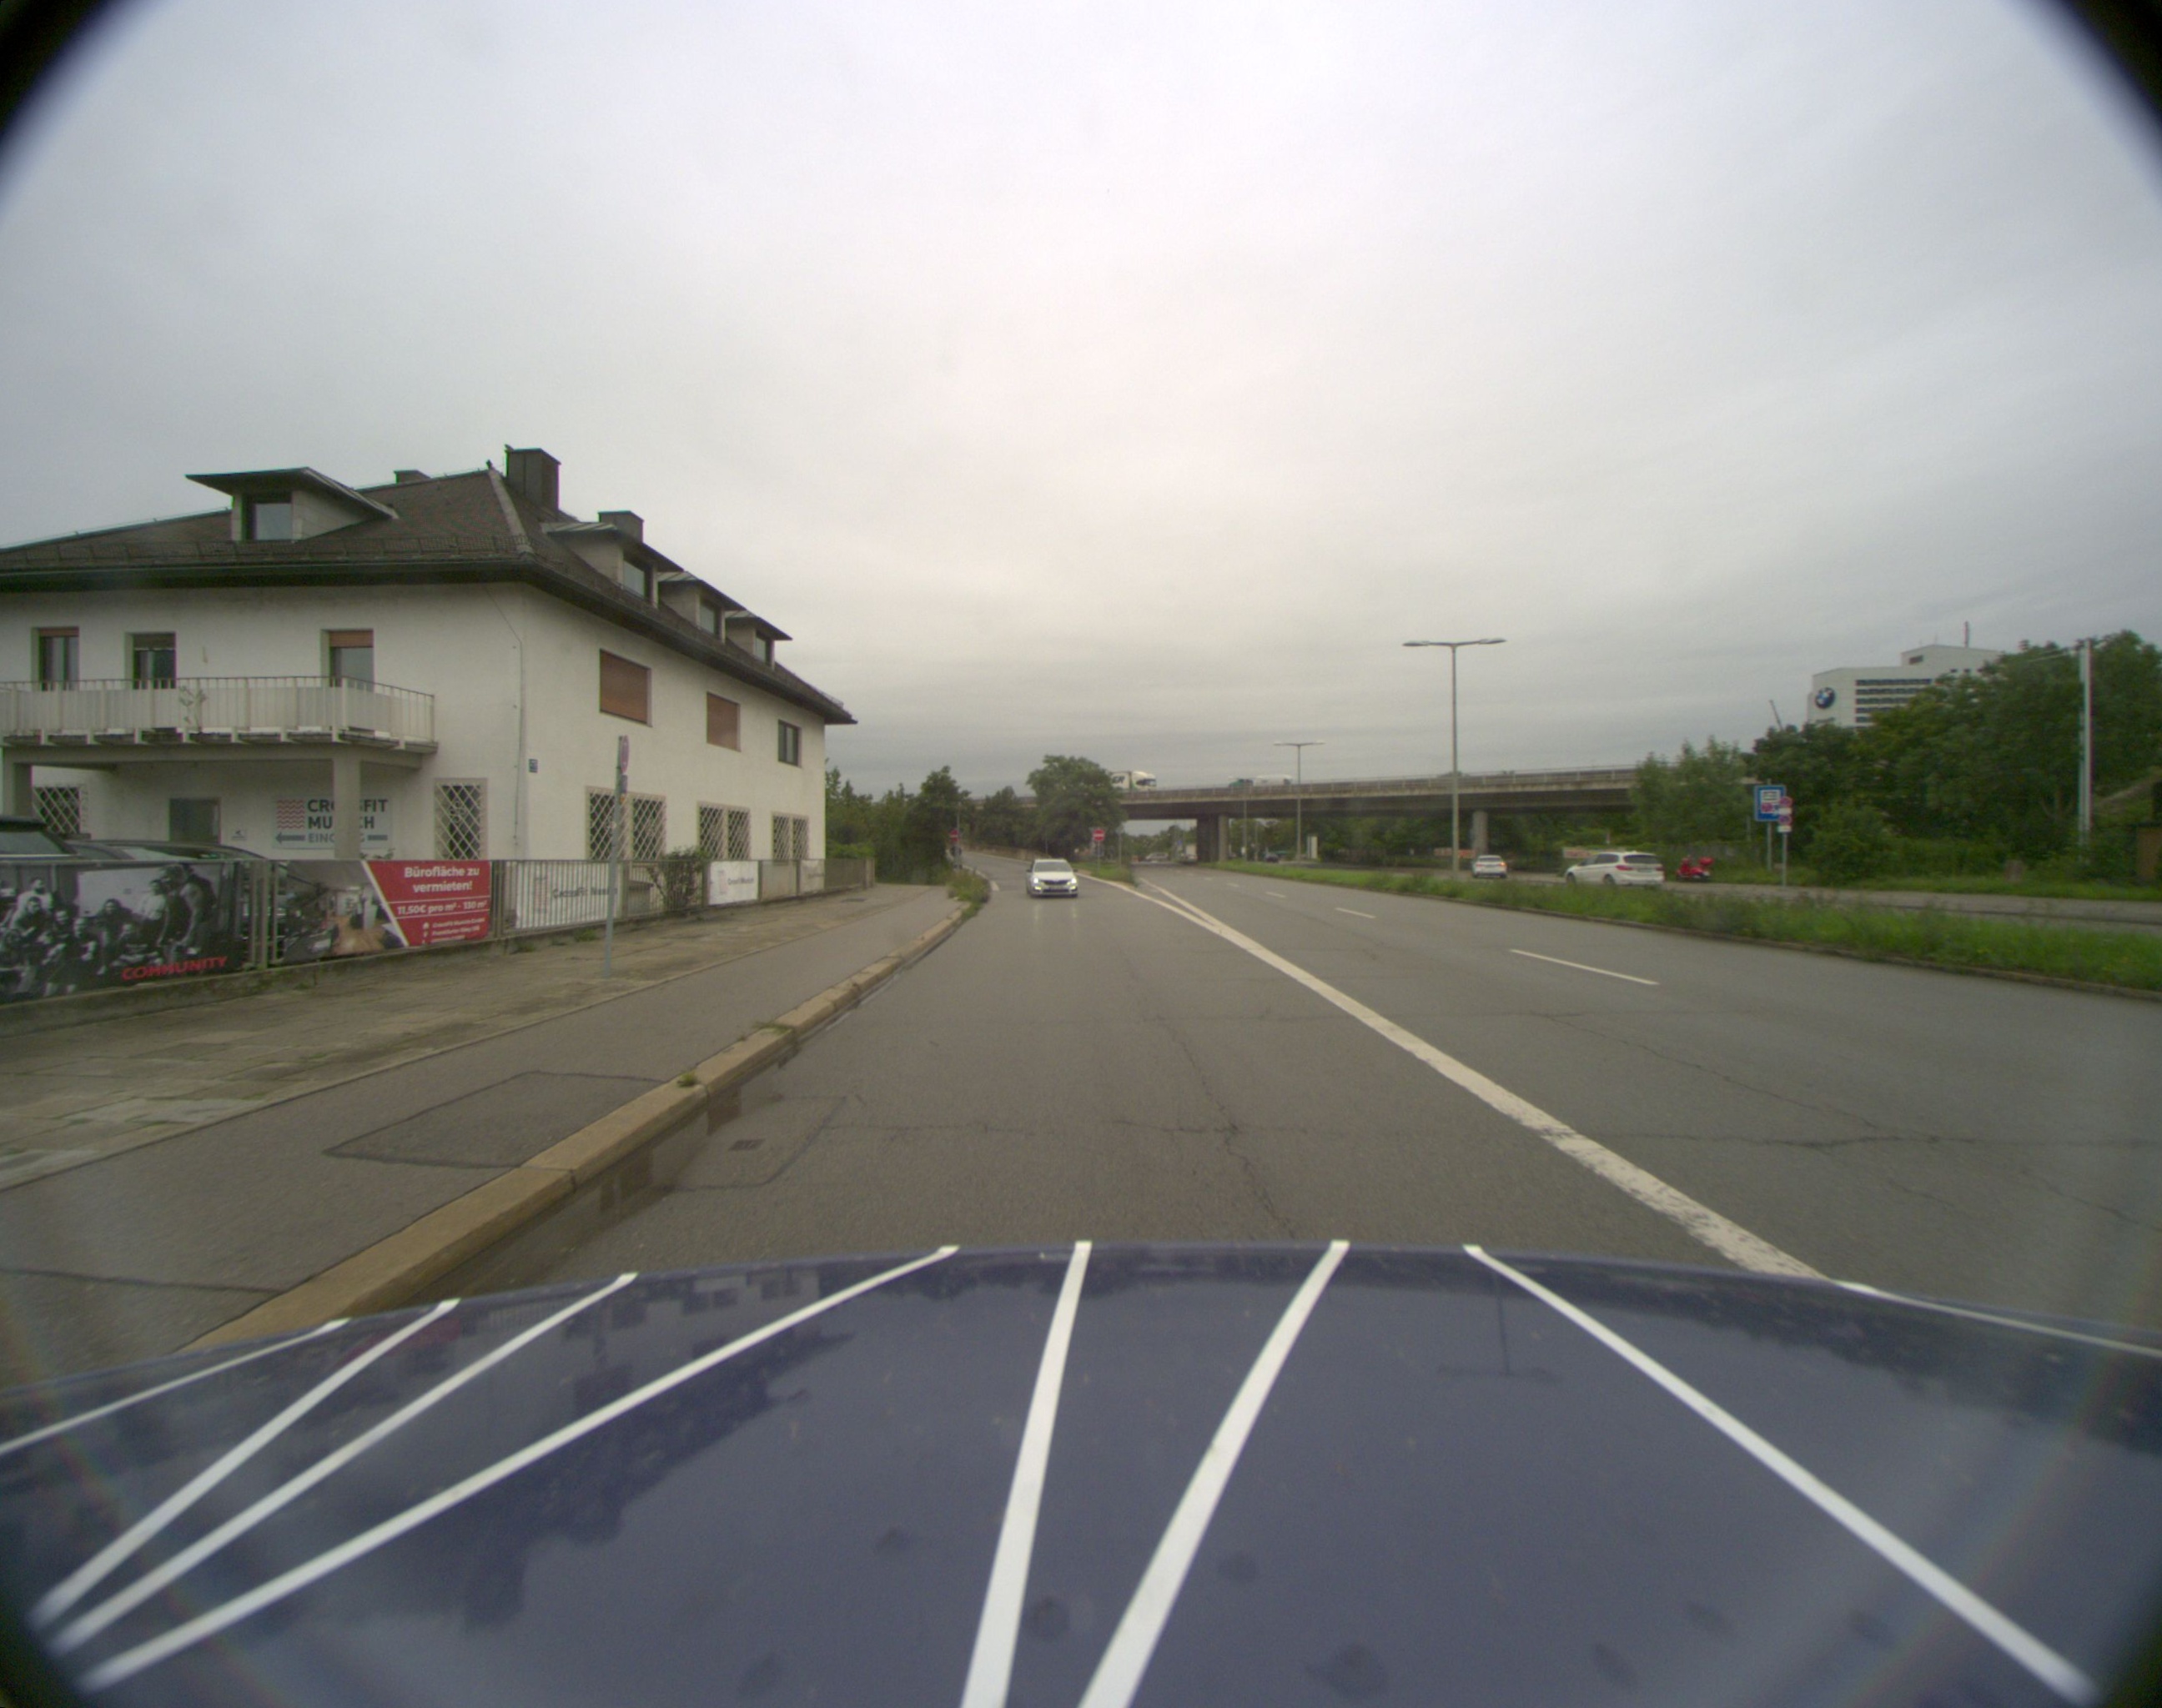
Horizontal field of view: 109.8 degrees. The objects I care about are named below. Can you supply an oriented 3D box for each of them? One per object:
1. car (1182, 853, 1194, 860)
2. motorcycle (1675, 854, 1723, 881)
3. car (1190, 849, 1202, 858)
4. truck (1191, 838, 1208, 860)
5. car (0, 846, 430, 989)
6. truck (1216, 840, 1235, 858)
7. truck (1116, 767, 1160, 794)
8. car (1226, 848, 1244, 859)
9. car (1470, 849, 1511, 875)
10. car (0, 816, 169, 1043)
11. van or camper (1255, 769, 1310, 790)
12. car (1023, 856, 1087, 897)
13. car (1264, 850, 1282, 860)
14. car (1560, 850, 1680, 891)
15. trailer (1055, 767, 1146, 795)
[{"bbox_3d":[22.995,0.485,163.118,1.974,1.574,4.591,0,0,1],"label":"car"},{"bbox_3d":[28.808,0.617,35.459,0.534,1.169,2.196,0,1,3],"label":"motorcycle"},{"bbox_3d":[23.495,-0.089,155.234,1.973,1.574,4.591,2,1,3],"label":"car"},{"bbox_3d":[26.148,-1.213,168.012,2.796,4.566,9.602,2,1,3],"label":"truck"},{"bbox_3d":[-10.313,0.653,8.691,4.106,1.441,1.927,0,0,2],"label":"car"},{"bbox_3d":[25.578,-0.809,134.460,2.258,2.960,7.234,2,0,3],"label":"truck"},{"bbox_3d":[7.475,-9.600,99.931,5.178,3.228,2.602,2,3,42],"label":"truck"},{"bbox_3d":[24.596,-0.057,121.668,1.974,1.574,4.590,2,1,1],"label":"car"},{"bbox_3d":[26.517,0.495,49.296,1.995,1.563,5.127,1,1,25],"label":"car"},{"bbox_3d":[-10.235,0.584,5.875,4.106,1.716,1.927,0,0,2],"label":"car"},{"bbox_3d":[22.937,-8.433,86.583,5.490,2.002,2.336,2,2,42],"label":"van or camper"},{"bbox_3d":[-1.121,0.812,29.788,1.916,1.439,4.552,-1,0,-9],"label":"car"},{"bbox_3d":[30.024,0.136,119.052,1.973,1.389,4.817,1,1,5],"label":"car"},{"bbox_3d":[22.530,0.623,32.017,1.998,1.563,4.575,0,1,4],"label":"car"},{"bbox_3d":[2.451,-9.930,104.510,14.016,3.280,2.671,2,3,42],"label":"trailer"}]
